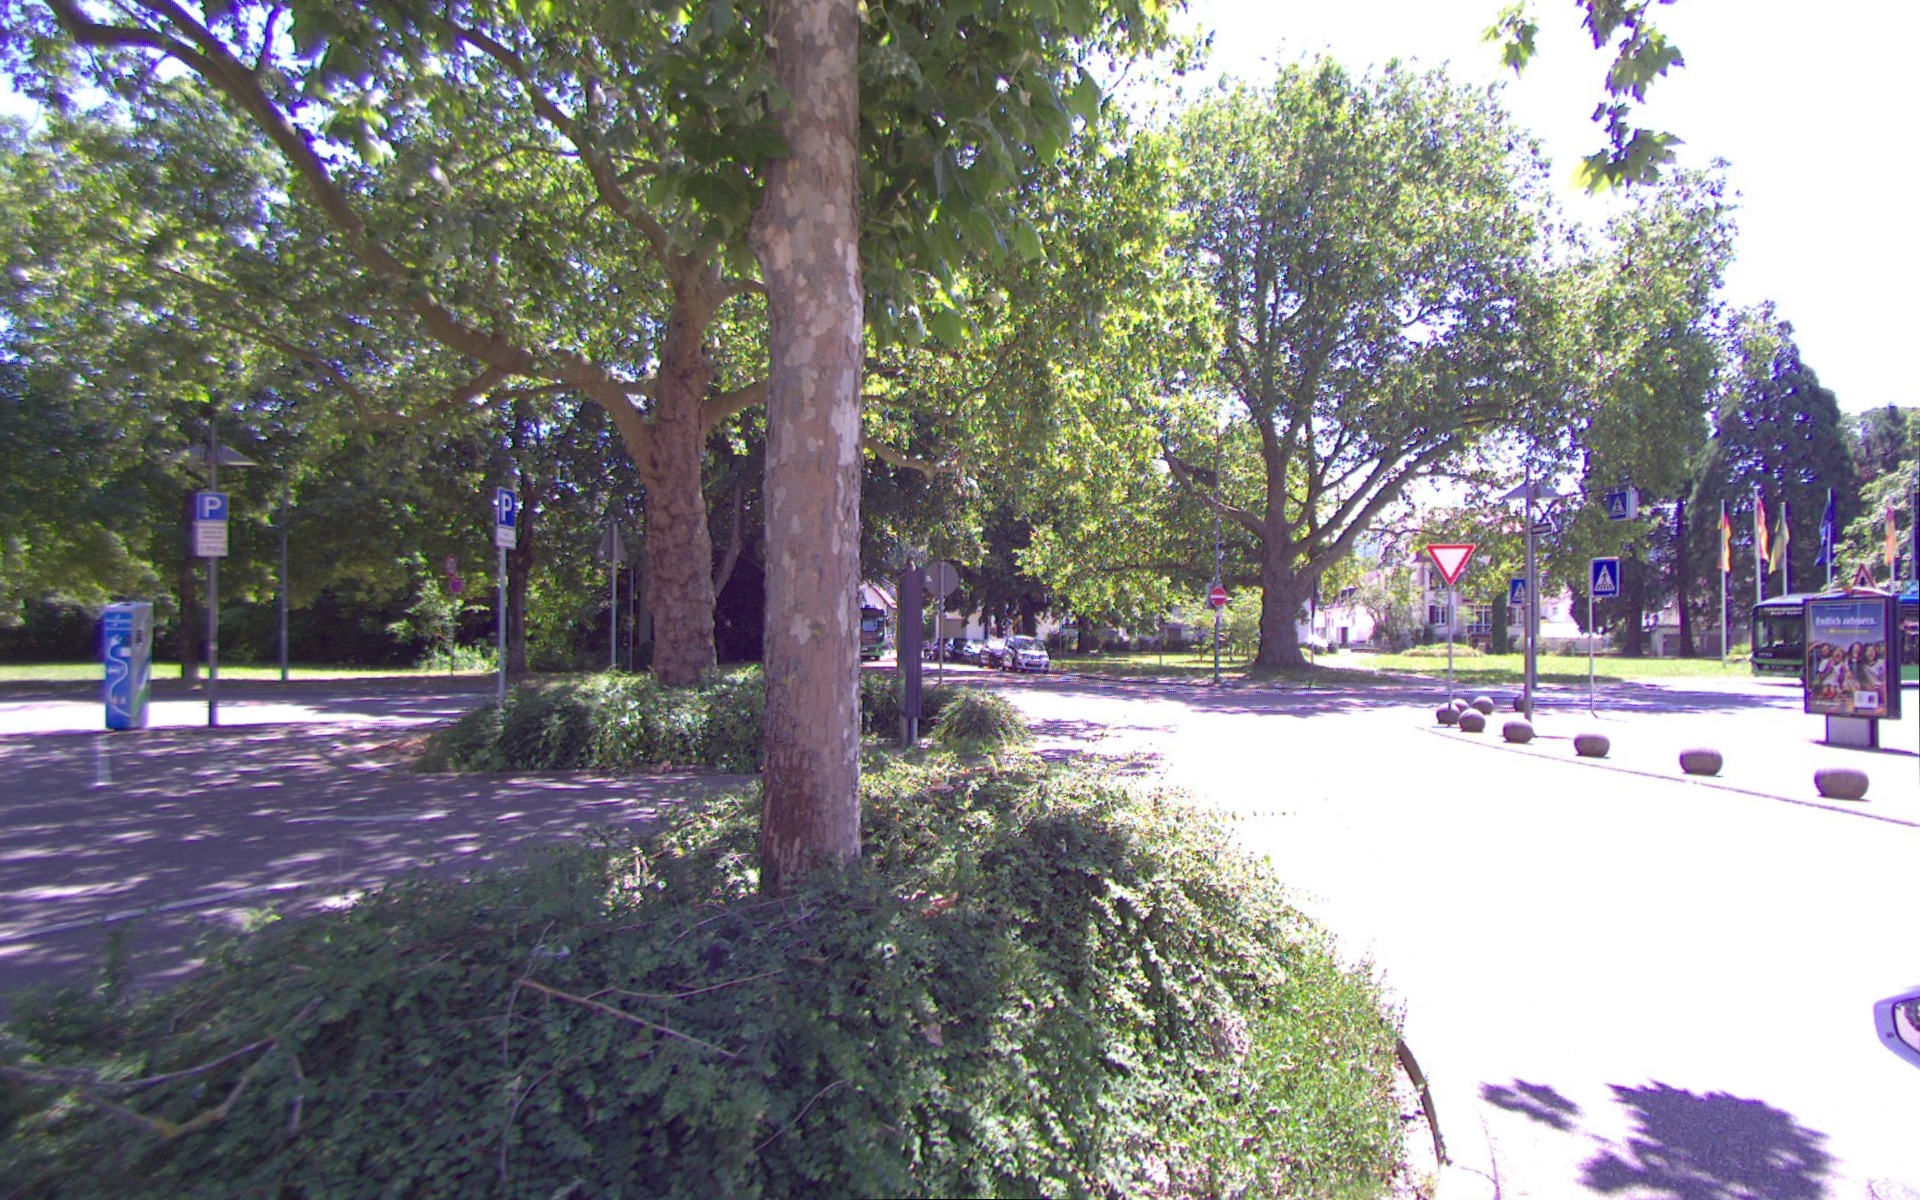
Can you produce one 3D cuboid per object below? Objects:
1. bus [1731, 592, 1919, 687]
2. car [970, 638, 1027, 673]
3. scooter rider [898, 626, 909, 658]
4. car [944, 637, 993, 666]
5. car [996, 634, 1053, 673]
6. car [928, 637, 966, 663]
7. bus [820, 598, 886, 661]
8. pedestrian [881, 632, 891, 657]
[{"bbox_3d":[35.199,1.502,37.511,12.205,3.326,2.812,1,-1,-11],"label":"bus"},{"bbox_3d":[1.766,2.591,47.564,1.725,1.458,4.495,2,-2,-10],"label":"car"},{"bbox_3d":[-4.125,3.056,72.944,0.727,2.348,0.925,1,-1,-9],"label":"scooter rider"},{"bbox_3d":[0.407,2.752,54.073,1.725,1.458,4.762,1,-2,-10],"label":"car"},{"bbox_3d":[2.654,2.210,42.261,1.571,1.516,3.480,2,-2,-10],"label":"car"},{"bbox_3d":[-0.848,3.089,62.842,1.729,1.512,3.911,1,-2,-11],"label":"car"},{"bbox_3d":[-6.832,1.851,62.014,2.826,3.338,15.924,1,-2,-10],"label":"bus"},{"bbox_3d":[-5.593,3.336,75.507,0.708,1.826,0.940,1,-1,-5],"label":"pedestrian"}]
